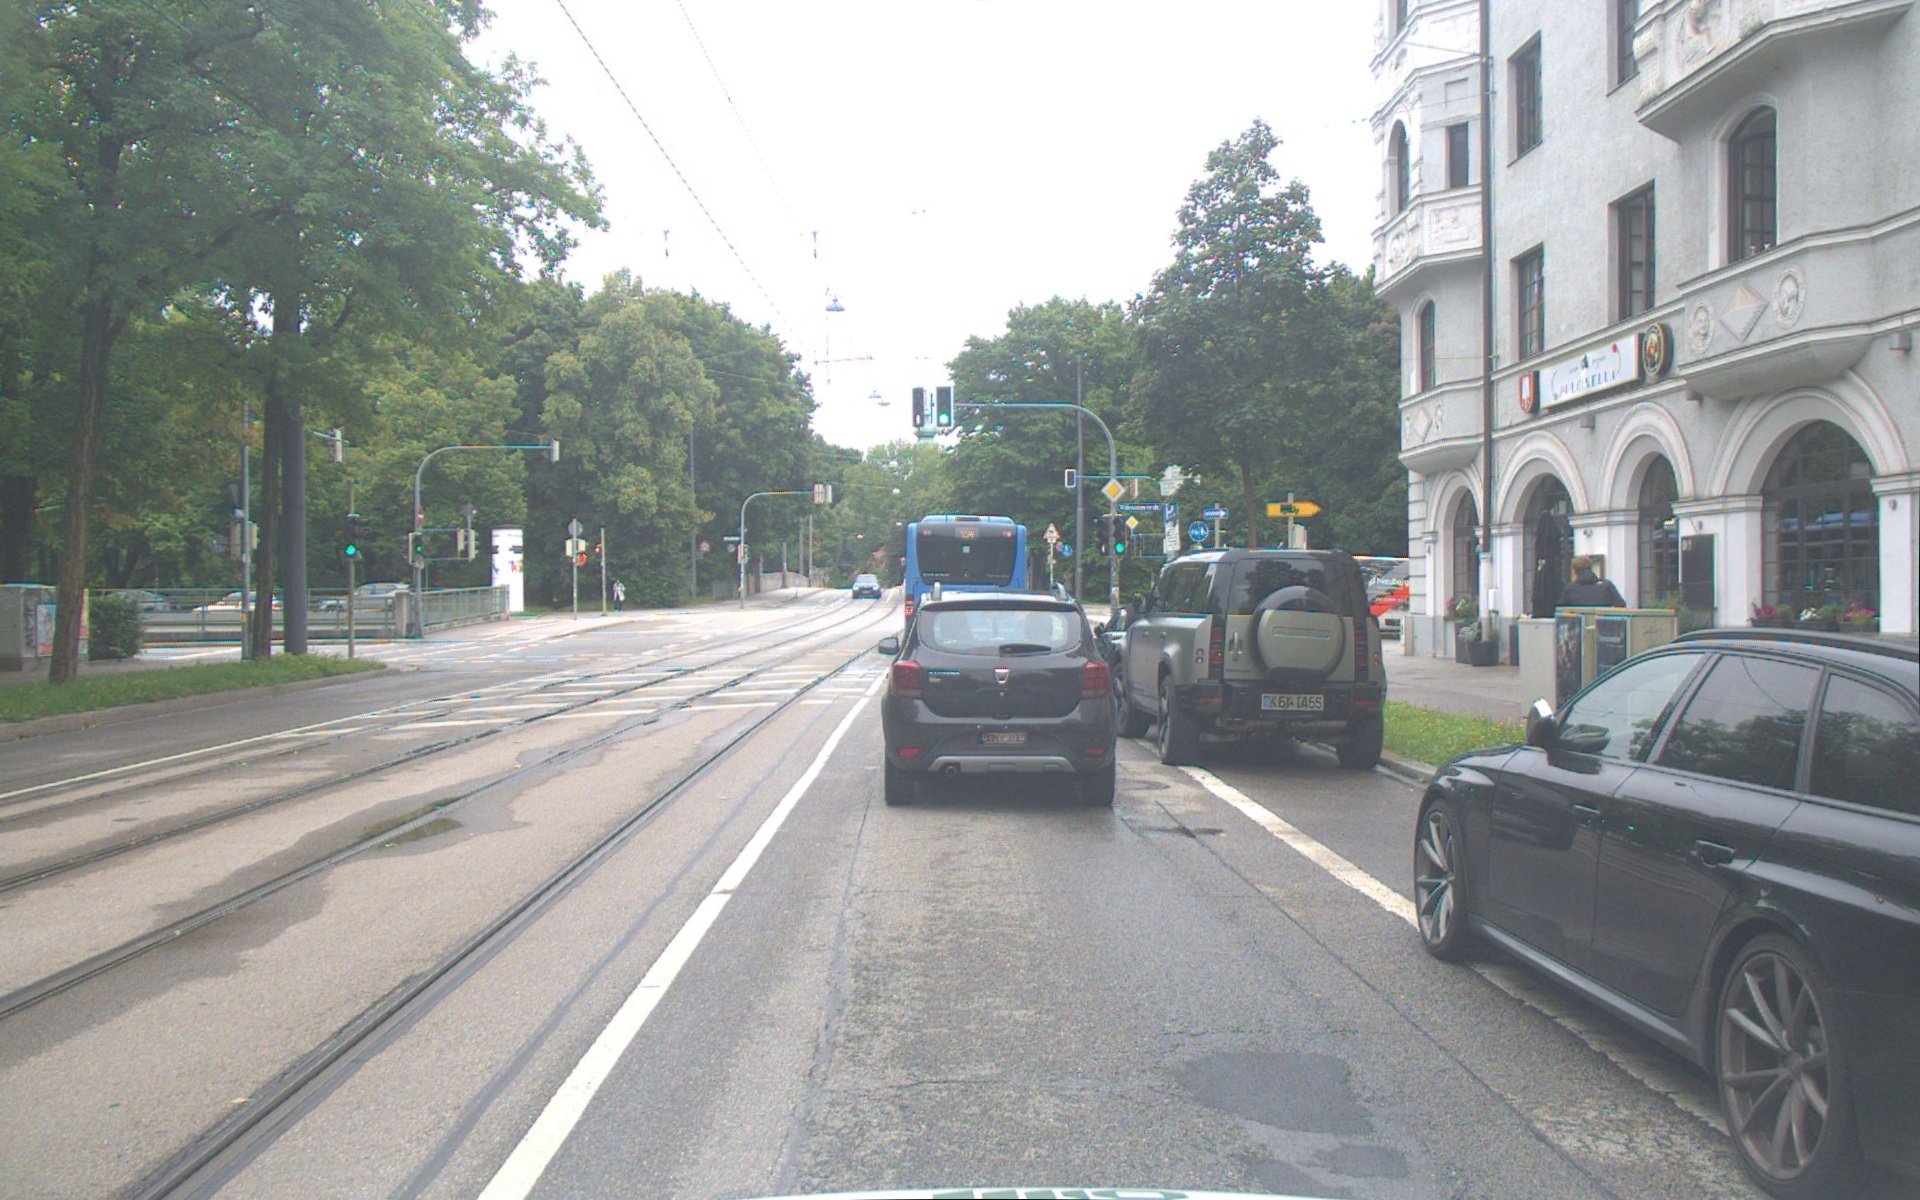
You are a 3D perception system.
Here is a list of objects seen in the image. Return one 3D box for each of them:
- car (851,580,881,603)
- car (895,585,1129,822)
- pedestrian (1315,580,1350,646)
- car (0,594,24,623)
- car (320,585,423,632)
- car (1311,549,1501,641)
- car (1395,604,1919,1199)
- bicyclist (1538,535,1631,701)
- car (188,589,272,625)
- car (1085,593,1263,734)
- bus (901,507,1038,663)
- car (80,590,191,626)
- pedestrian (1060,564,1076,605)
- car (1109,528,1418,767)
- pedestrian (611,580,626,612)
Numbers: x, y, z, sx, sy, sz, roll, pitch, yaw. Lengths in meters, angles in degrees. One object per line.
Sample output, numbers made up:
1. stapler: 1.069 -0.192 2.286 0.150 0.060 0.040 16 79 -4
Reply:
1. car: -5.858 -0.507 103.546 1.752 1.394 3.399 1 0 -2
2. car: 0.318 0.711 13.083 1.568 1.584 3.524 1 0 -1
3. pedestrian: 10.047 0.344 44.628 0.690 1.762 0.842 1 0 -1
4. car: -42.352 0.317 70.900 3.656 1.206 1.249 1 0 -6
5. car: -25.751 0.376 72.459 3.946 1.920 1.488 1 0 -8
6. car: 13.735 -0.152 51.146 5.191 2.658 2.229 1 0 -4
7. car: 2.929 0.763 5.422 1.681 1.451 4.601 1 0 -1
8. bicyclist: 6.827 0.191 18.103 0.709 1.759 0.726 1 0 -2
9. car: -31.658 0.281 71.739 3.050 1.477 1.249 1 0 -6
10. car: 2.674 0.751 21.551 1.679 1.619 4.326 1 0 -1
11. bus: 0.066 -0.288 36.478 2.625 3.050 6.957 1 0 -3
12. car: -35.594 0.338 71.468 3.848 1.429 1.719 1 0 -5
13. pedestrian: 5.716 -0.813 87.447 0.747 2.153 0.853 0 0 -1
14. car: 2.740 0.395 16.104 1.876 1.939 4.805 1 0 -3
15. pedestrian: -16.346 -0.203 79.193 0.520 1.527 0.588 1 0 4
